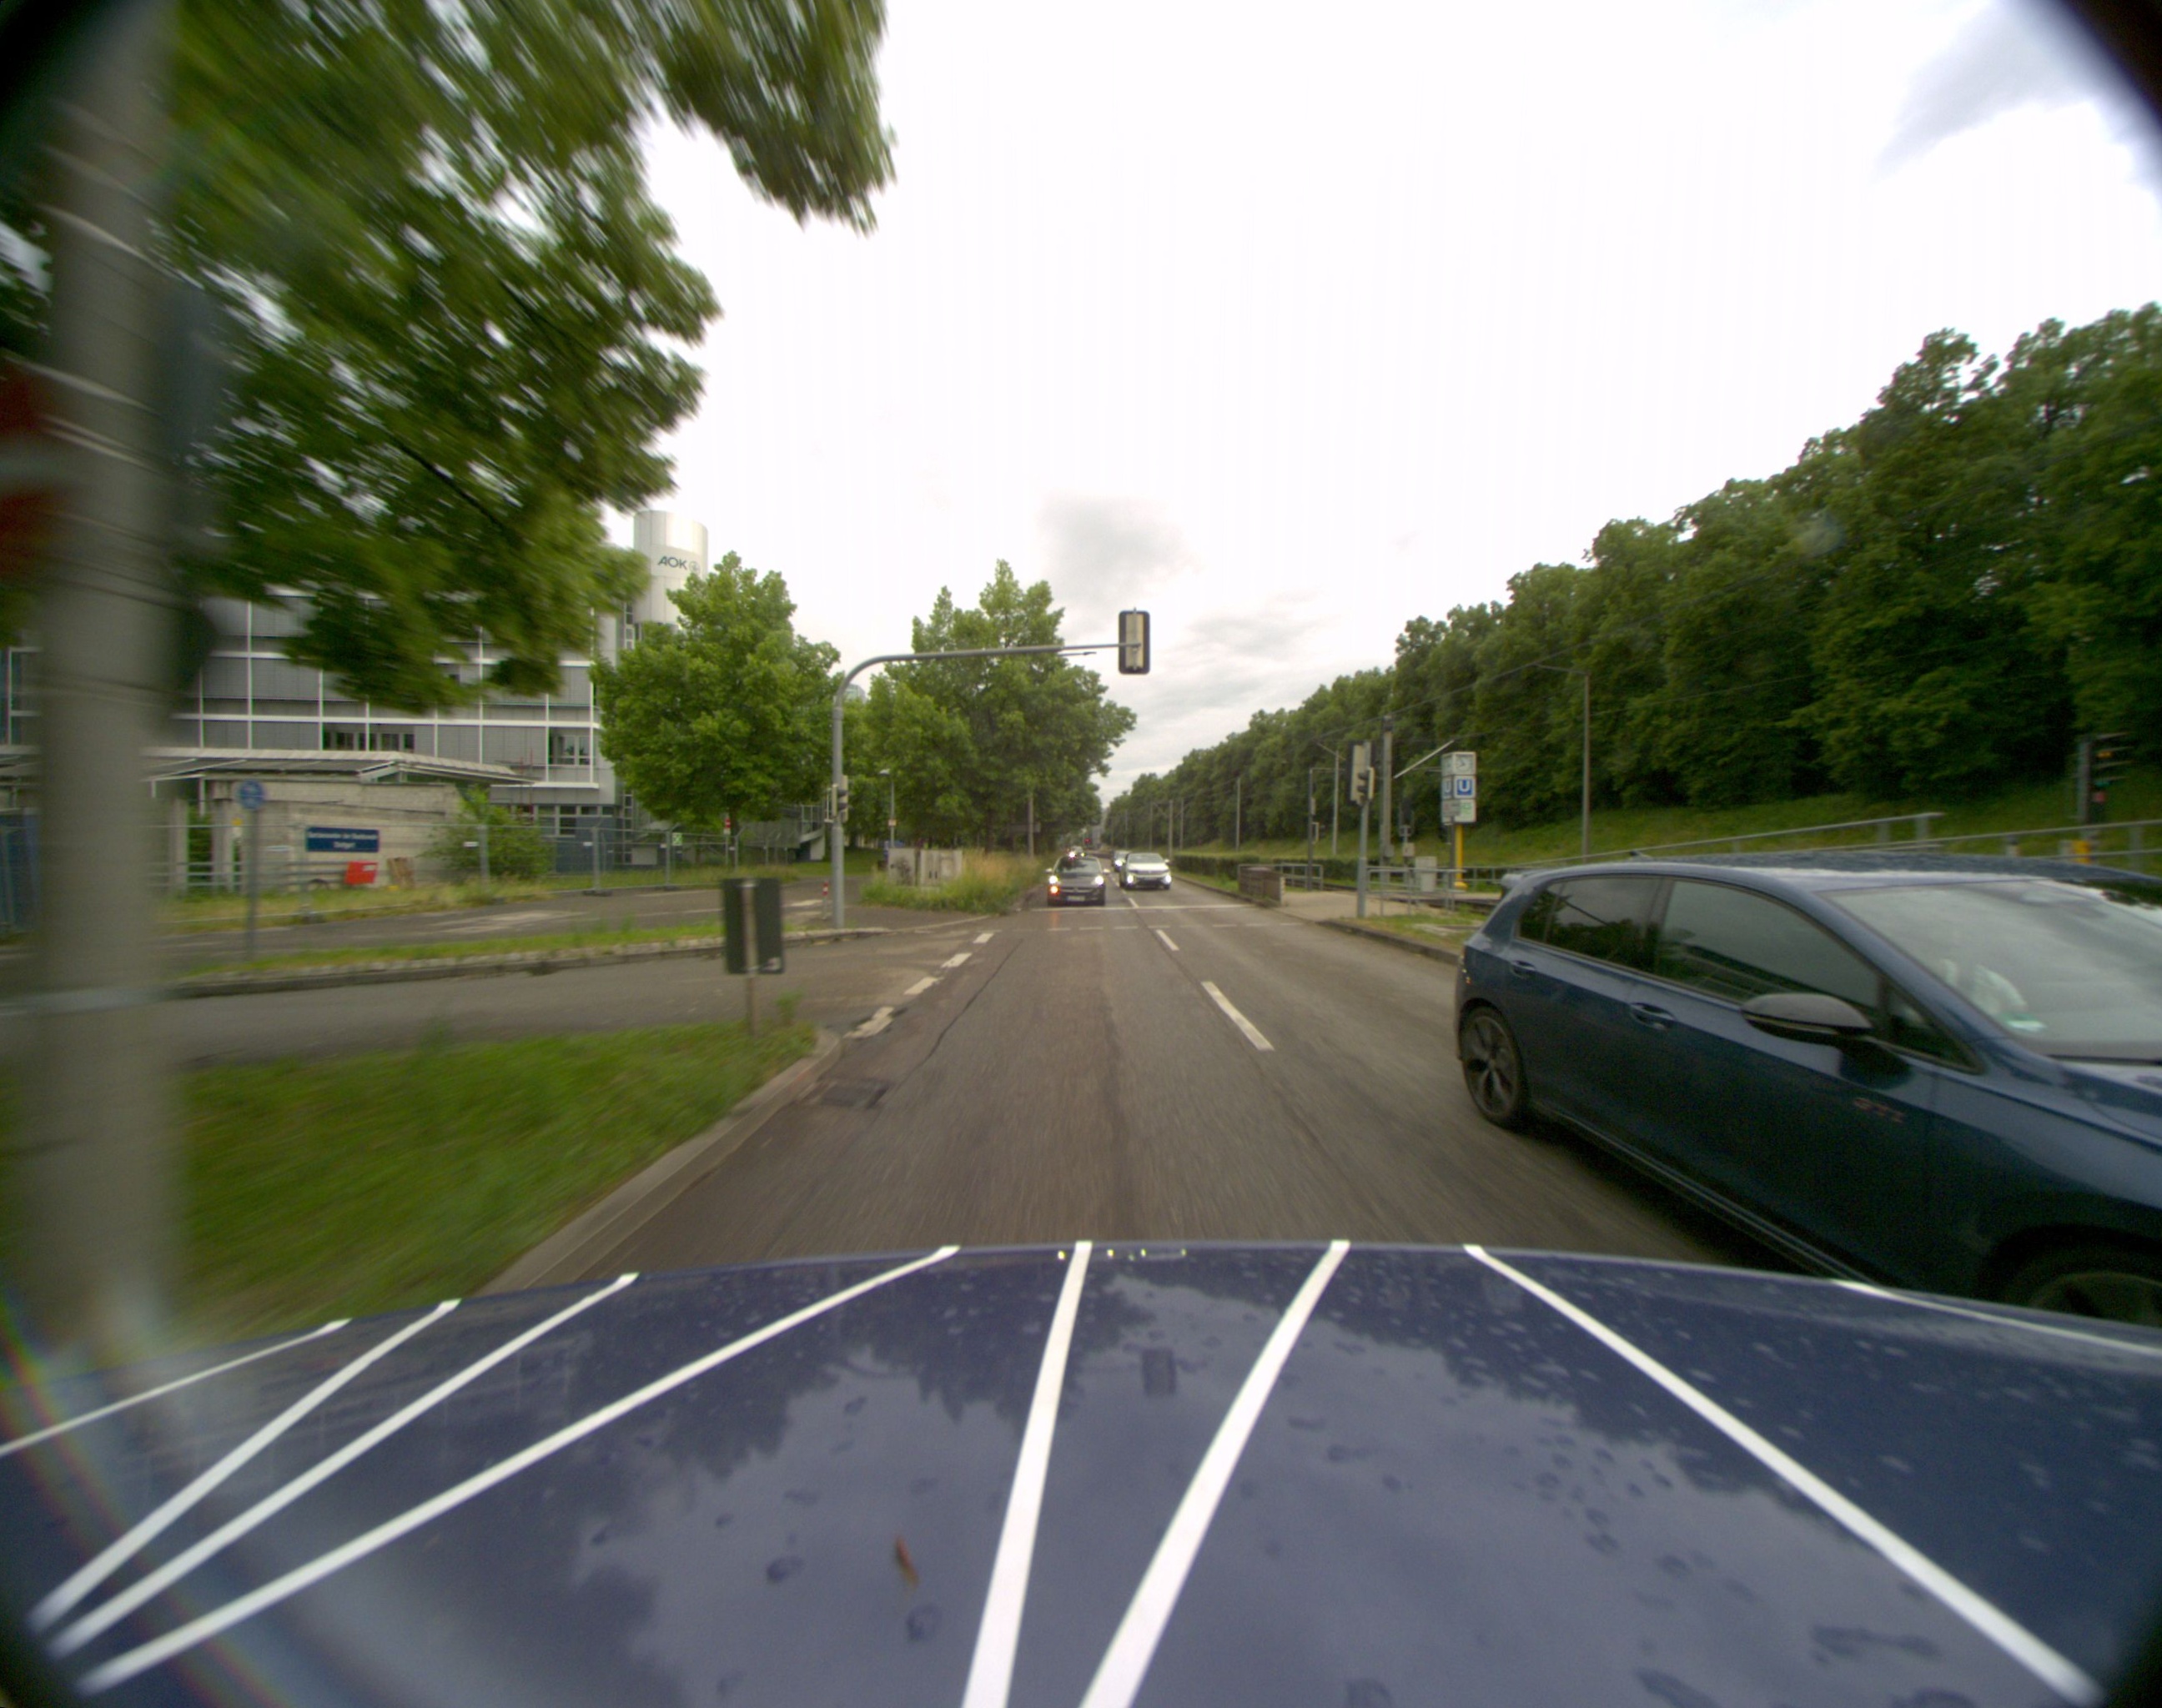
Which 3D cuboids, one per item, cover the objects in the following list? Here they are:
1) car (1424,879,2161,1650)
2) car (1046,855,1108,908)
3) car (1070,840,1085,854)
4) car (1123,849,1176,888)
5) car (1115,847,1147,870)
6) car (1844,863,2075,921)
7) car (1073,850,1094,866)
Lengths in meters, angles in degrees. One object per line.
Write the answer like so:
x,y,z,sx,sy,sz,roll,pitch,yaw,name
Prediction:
3.044,0.871,2.547,1.813,1.370,4.346,-2,0,0,car
-0.061,0.781,23.530,1.710,1.425,4.429,-1,1,1,car
-0.524,-1.045,110.649,1.960,1.914,4.843,-2,1,-2,car
2.804,0.546,31.998,1.960,1.457,4.699,0,1,2,car
3.579,0.287,55.419,1.960,1.472,4.698,-2,1,0,car
24.675,1.004,21.601,1.801,1.395,3.998,-1,1,-5,car
0.251,0.409,76.639,1.960,1.469,4.698,-2,1,-1,car
